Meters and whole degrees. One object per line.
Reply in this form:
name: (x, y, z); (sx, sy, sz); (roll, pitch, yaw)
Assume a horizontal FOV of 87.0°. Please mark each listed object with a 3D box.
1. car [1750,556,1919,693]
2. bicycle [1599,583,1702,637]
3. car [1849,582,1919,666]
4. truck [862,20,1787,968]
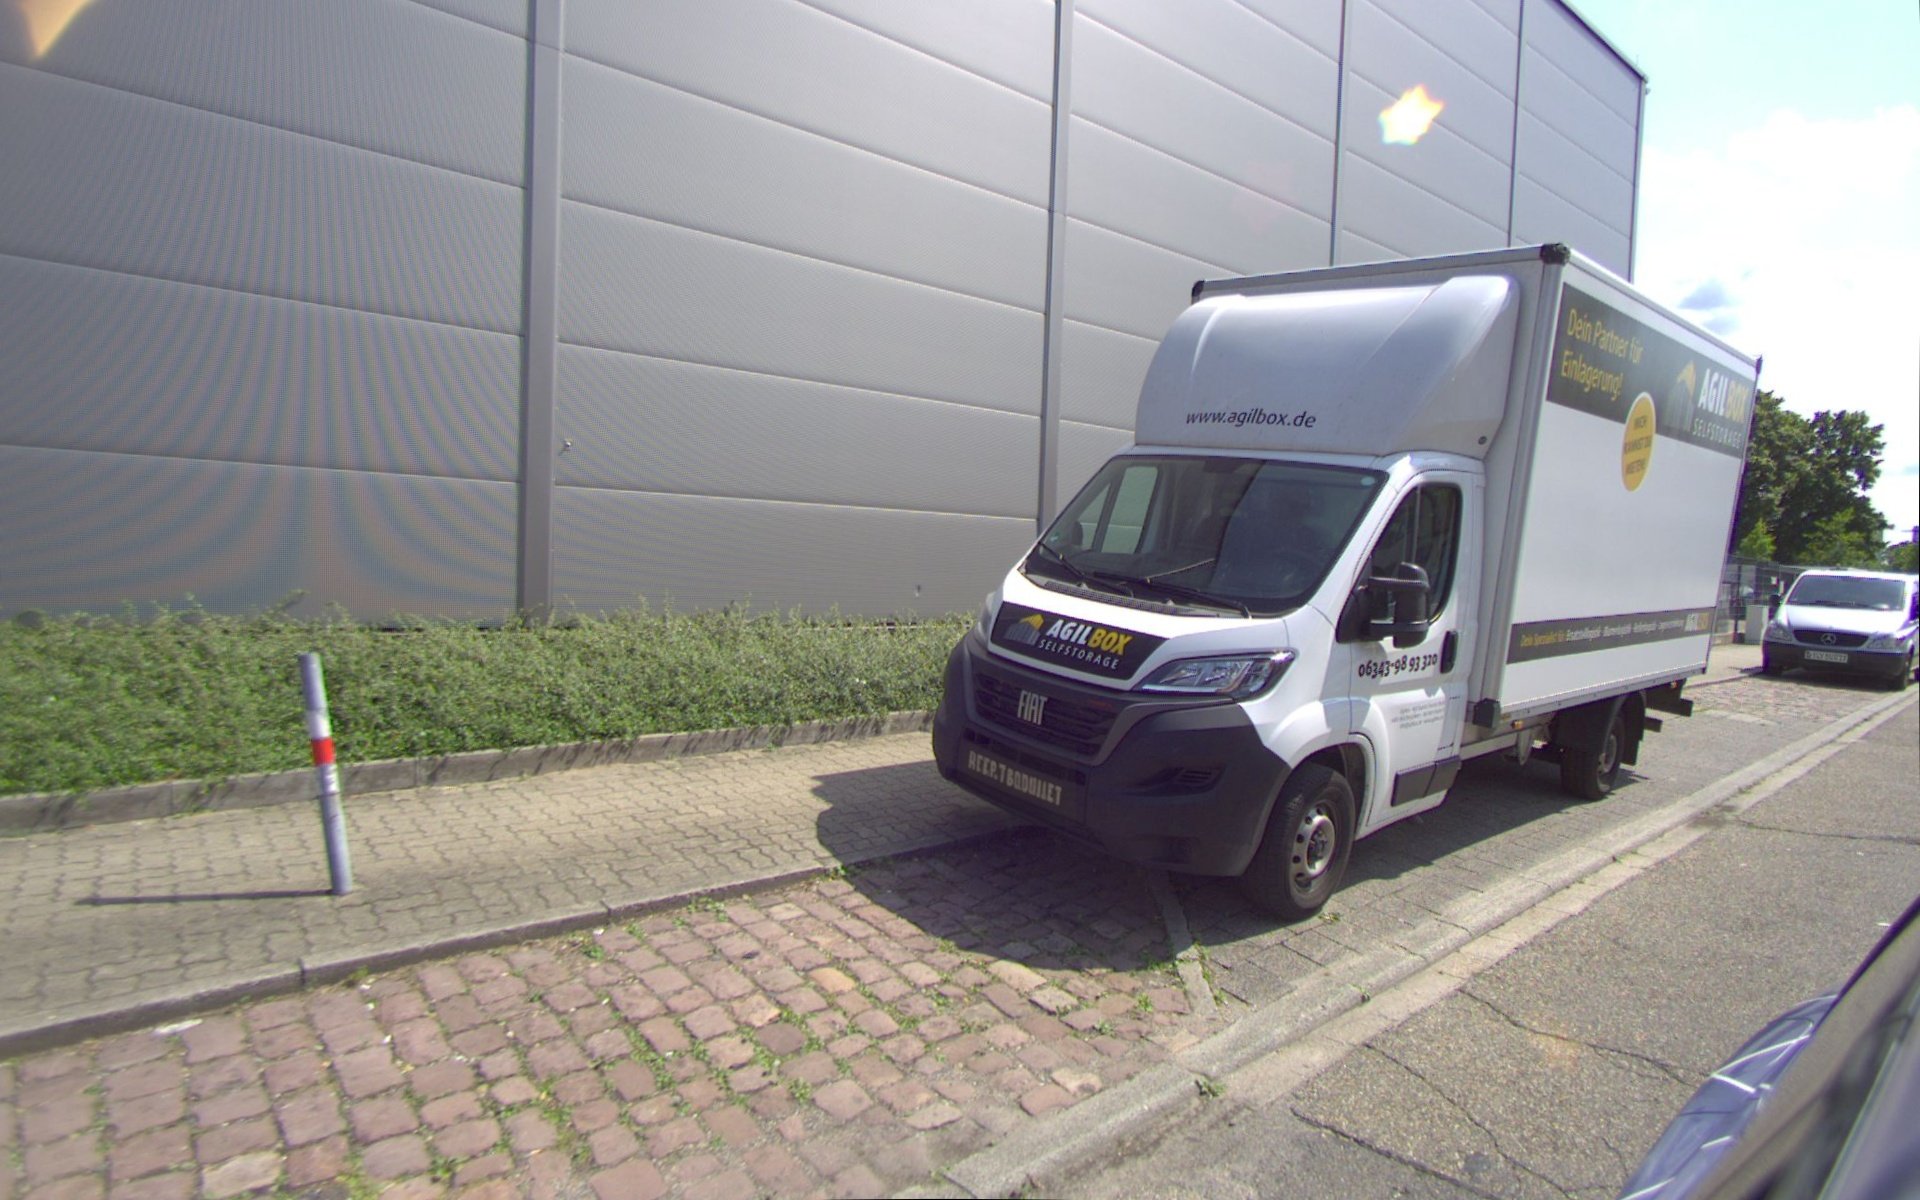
car: (15.947, 0.357, 17.800); (5.055, 1.925, 2.060); (0, 6, -40)
bicycle: (16.705, 0.223, 24.541); (0.449, 1.157, 1.956); (1, 4, -38)
car: (20.942, 0.521, 22.140); (4.022, 1.644, 1.707); (0, 4, -42)
truck: (2.913, -0.474, 6.686); (6.697, 3.330, 2.466); (0, 7, -41)
